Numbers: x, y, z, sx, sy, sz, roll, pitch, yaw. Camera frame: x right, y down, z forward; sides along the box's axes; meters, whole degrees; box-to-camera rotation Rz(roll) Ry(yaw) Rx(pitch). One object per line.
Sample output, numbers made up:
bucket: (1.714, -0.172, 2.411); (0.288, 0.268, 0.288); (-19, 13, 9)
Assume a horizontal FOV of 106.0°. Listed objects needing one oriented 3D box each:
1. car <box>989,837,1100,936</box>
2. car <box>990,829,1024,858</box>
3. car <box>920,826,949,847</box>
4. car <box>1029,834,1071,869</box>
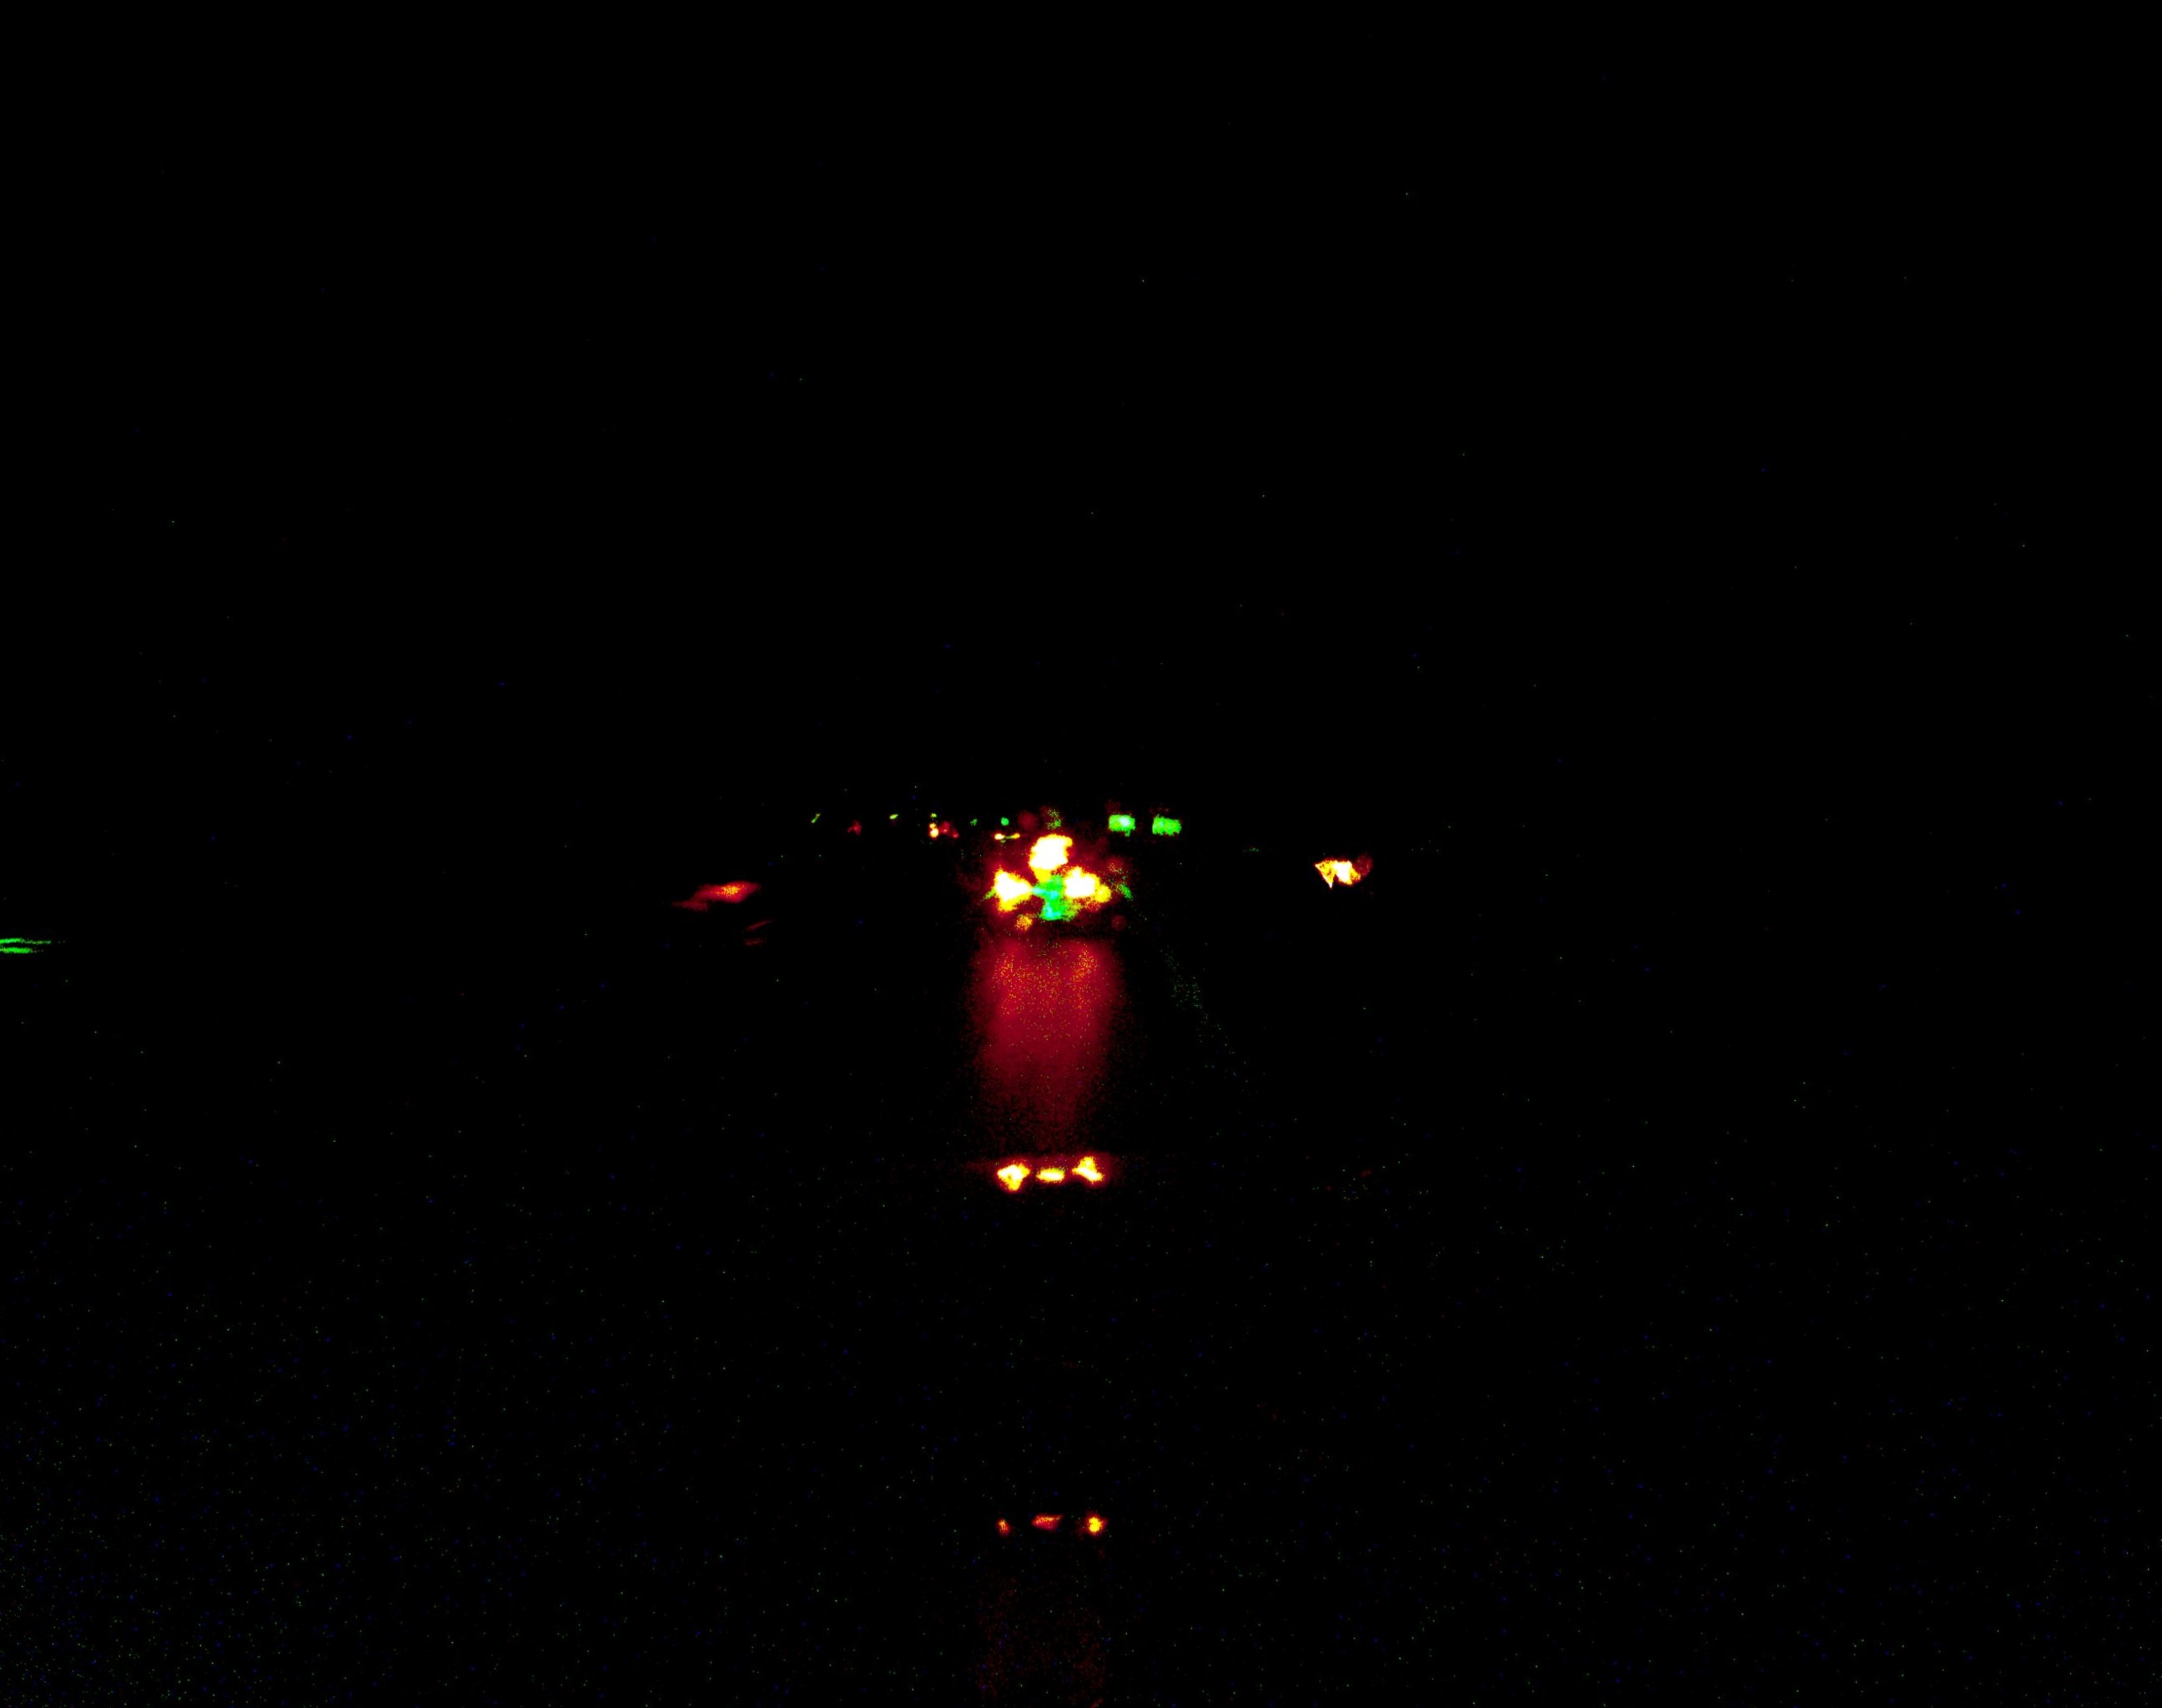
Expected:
car: (-0.700, 0.525, 15.993); (1.856, 1.647, 4.065); (-1, 1, -2)
car: (-5.550, -0.810, 60.657); (1.898, 2.040, 4.027); (-1, 2, -14)
car: (-13.987, -1.671, 77.433); (1.903, 1.997, 4.016); (-1, 1, -22)
car: (-1.704, -0.140, 43.338); (1.893, 1.720, 4.037); (-2, 1, -6)
